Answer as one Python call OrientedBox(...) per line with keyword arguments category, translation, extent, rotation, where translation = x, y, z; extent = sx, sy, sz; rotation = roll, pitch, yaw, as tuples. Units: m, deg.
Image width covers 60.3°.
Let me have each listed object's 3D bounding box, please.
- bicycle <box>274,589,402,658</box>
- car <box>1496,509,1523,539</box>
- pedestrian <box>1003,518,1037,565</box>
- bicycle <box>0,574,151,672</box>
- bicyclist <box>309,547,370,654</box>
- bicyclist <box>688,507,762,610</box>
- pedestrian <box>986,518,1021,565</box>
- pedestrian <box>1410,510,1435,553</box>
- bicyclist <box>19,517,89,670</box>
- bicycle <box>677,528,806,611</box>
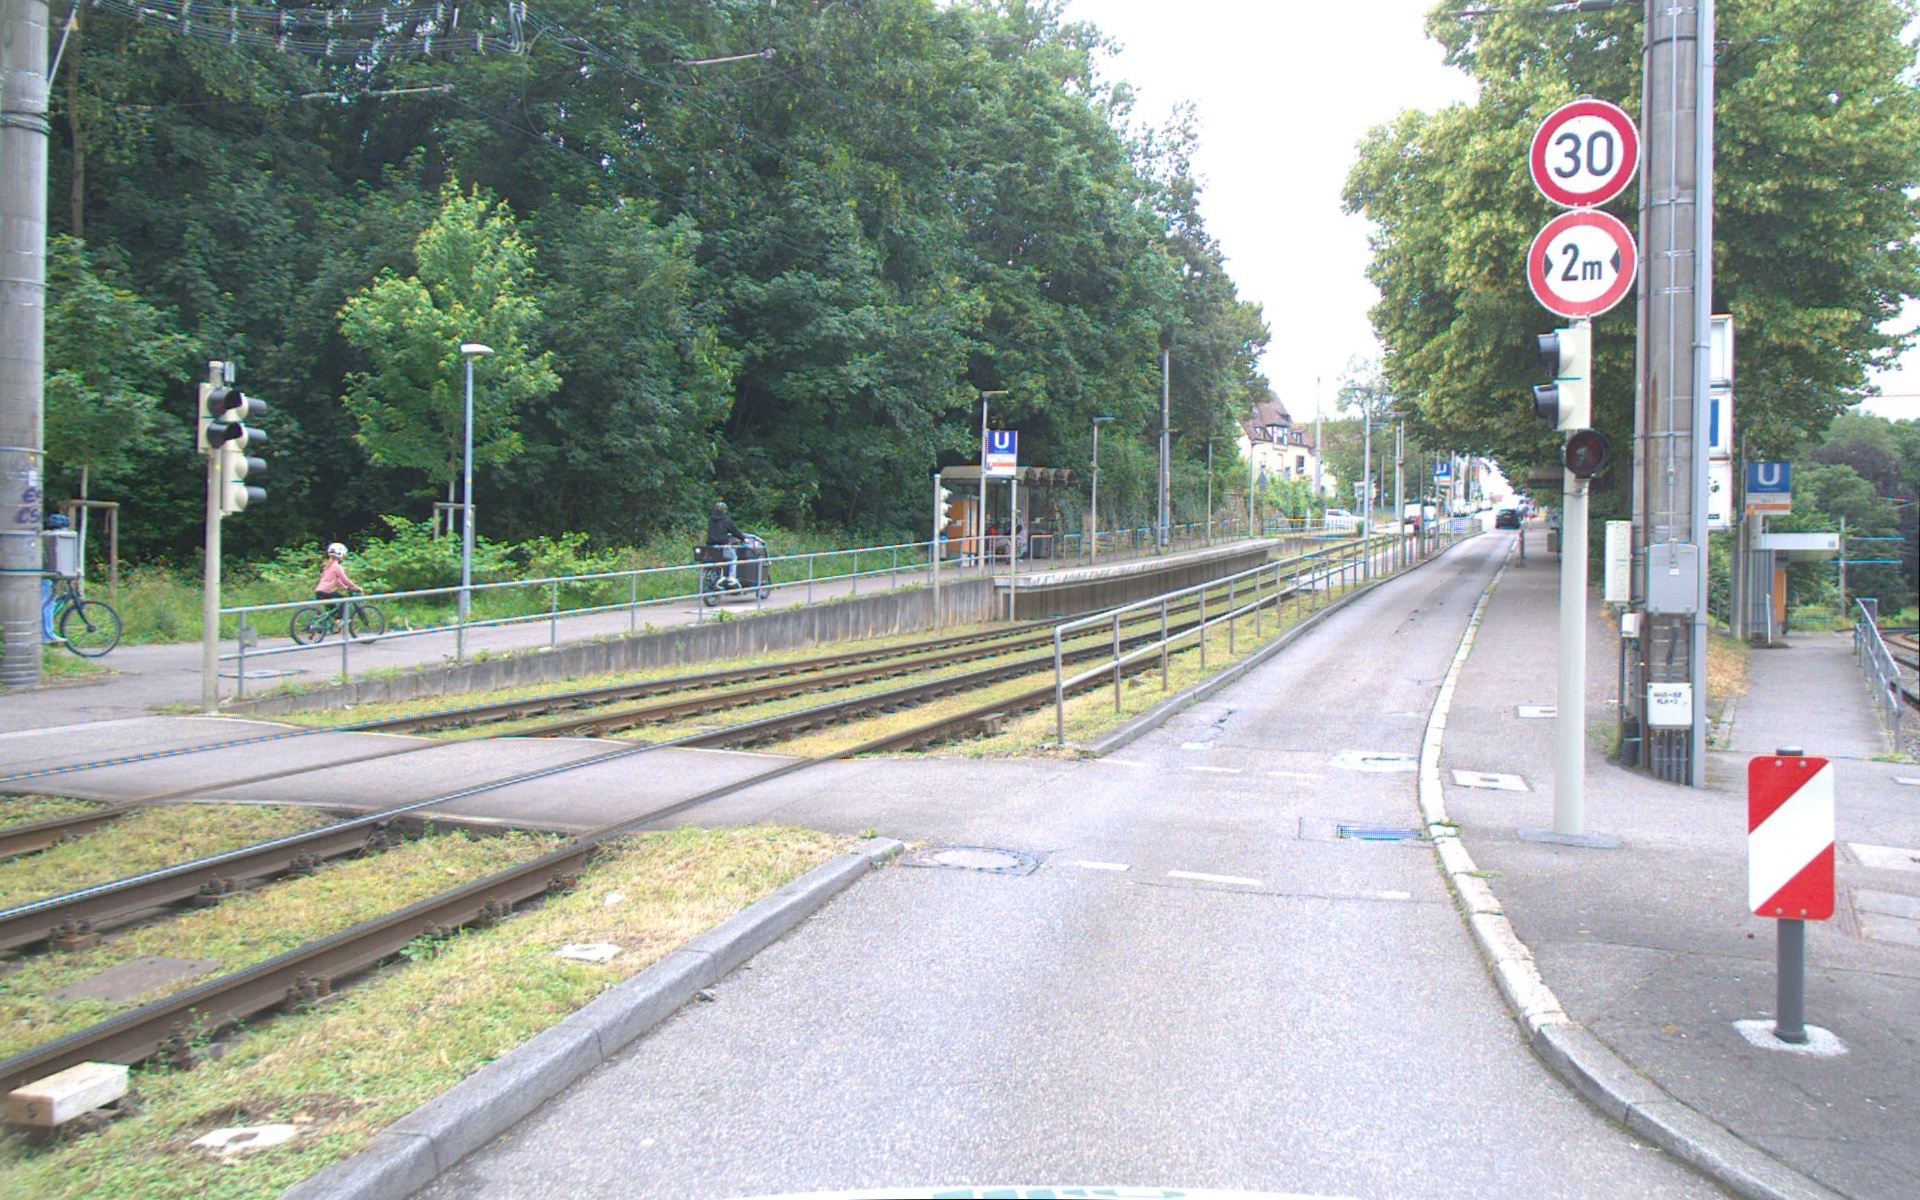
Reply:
OrientedBox(category="bicycle", translation=(-8.050, 0.288, 21.457), extent=(0.446, 0.751, 1.552), rotation=(5, 7, 38))
OrientedBox(category="car", translation=(44.916, -6.190, 135.112), extent=(1.952, 2.182, 4.001), rotation=(4, 1, 19))
OrientedBox(category="pedestrian", translation=(1.799, -1.751, 49.675), extent=(0.756, 1.349, 0.787), rotation=(4, 1, 19))
OrientedBox(category="bicycle", translation=(-10.394, 0.249, 18.987), extent=(1.926, 1.059, 0.468), rotation=(0, 4, -40))
OrientedBox(category="bicyclist", translation=(-8.040, -0.003, 21.438), extent=(0.446, 1.323, 0.578), rotation=(5, 6, 38))
OrientedBox(category="bicyclist", translation=(-4.146, -0.756, 29.223), extent=(0.718, 1.740, 1.293), rotation=(4, 5, 22))
OrientedBox(category="pedestrian", translation=(1.275, -1.726, 48.636), extent=(0.756, 1.348, 0.787), rotation=(4, 3, 19))
OrientedBox(category="pedestrian", translation=(16.118, -2.394, 57.622), extent=(0.727, 1.433, 0.747), rotation=(4, 5, 19))
OrientedBox(category="bicyclist", translation=(-10.391, -0.077, 18.969), extent=(0.618, 1.703, 0.469), rotation=(0, 4, -40))
OrientedBox(category="bicycle", translation=(-3.895, -0.590, 29.852), extent=(0.718, 1.311, 3.347), rotation=(4, 5, 22))
